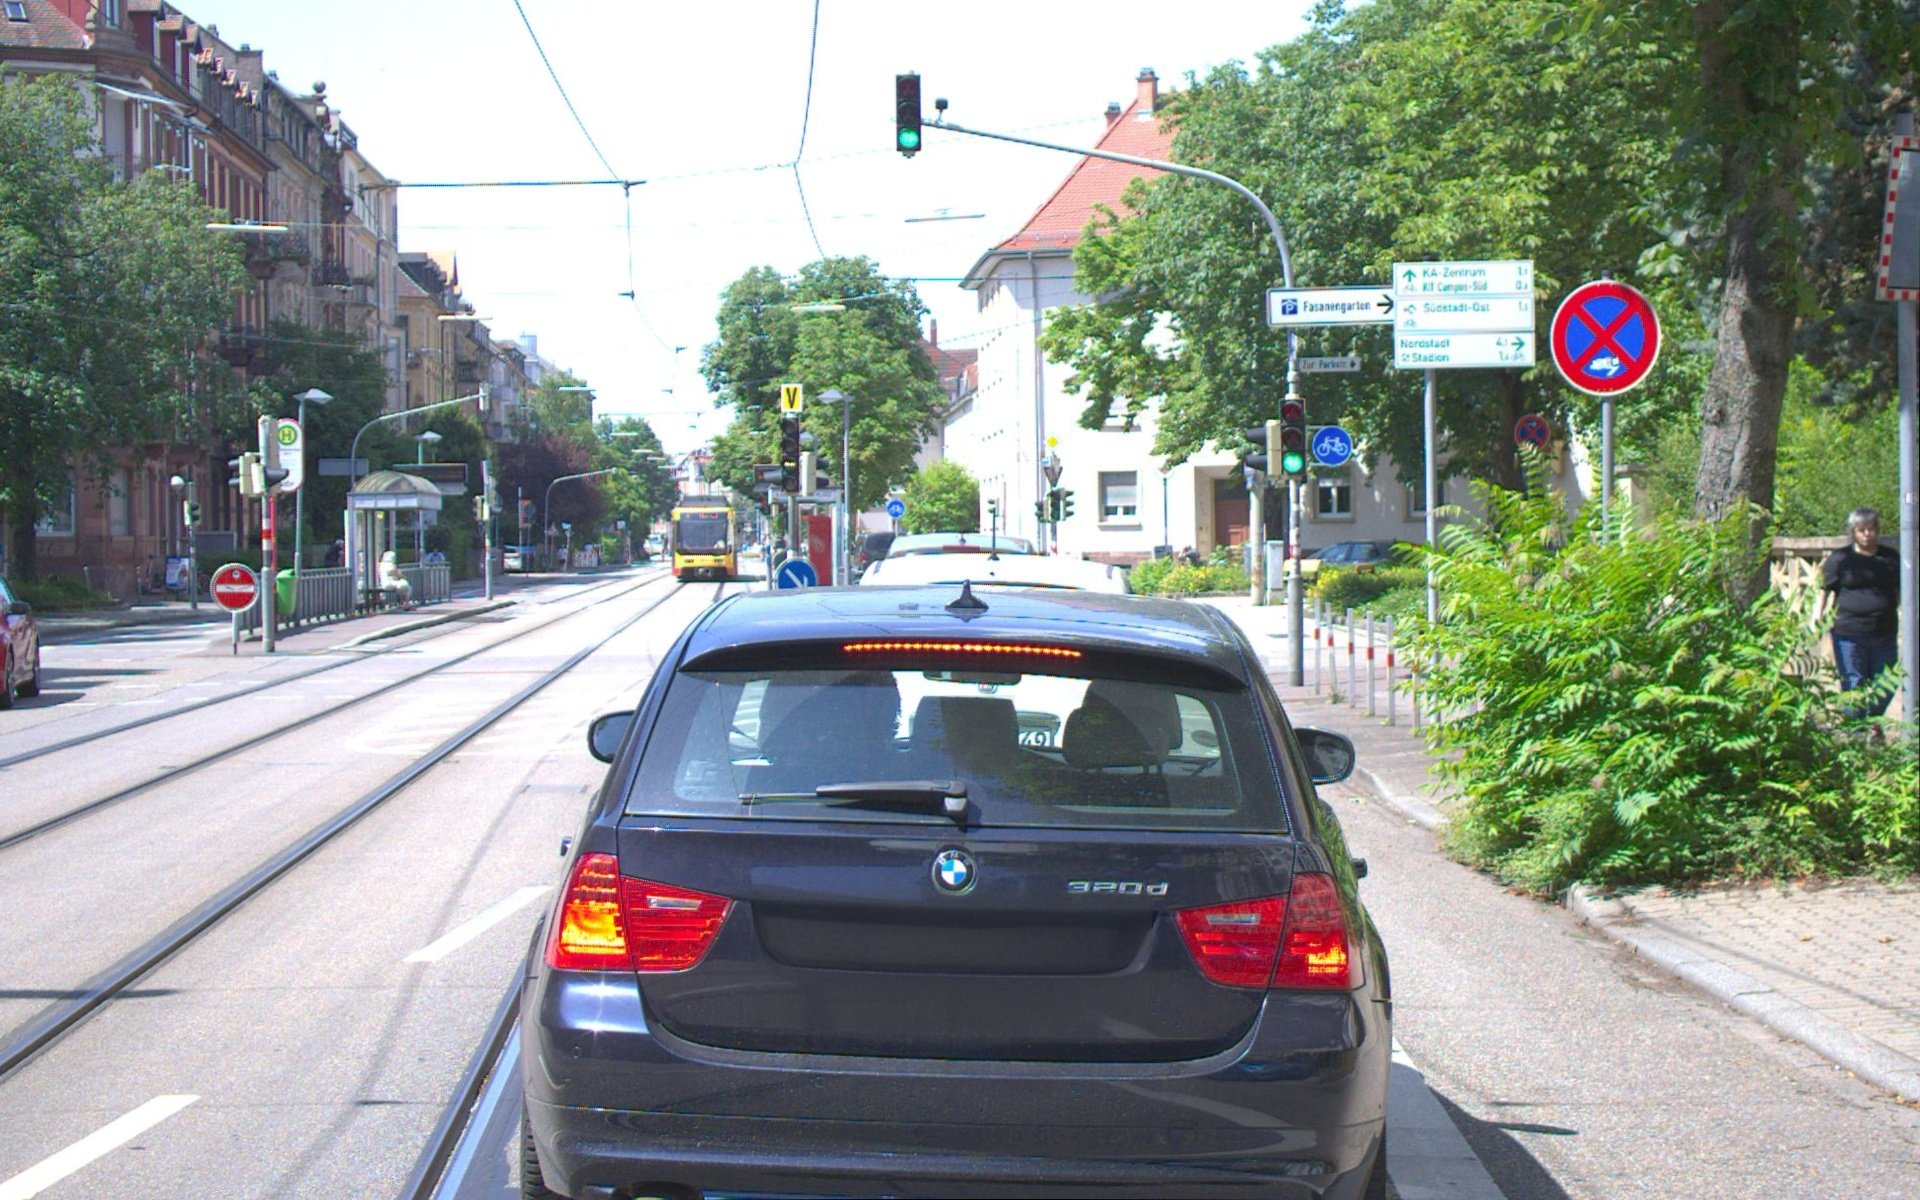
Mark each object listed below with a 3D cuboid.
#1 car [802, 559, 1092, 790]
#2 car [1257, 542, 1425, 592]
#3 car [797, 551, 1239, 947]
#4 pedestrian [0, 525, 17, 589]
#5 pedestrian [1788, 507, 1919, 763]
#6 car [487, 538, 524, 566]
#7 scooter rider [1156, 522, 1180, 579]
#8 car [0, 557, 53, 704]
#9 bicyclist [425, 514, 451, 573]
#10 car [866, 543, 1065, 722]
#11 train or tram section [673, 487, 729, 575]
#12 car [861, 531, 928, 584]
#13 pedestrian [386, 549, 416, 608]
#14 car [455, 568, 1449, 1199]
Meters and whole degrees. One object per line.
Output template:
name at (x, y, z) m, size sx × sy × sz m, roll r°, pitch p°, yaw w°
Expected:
car at (-0.161, 0.413, 22.018) m, size 1.691 × 1.318 × 3.822 m, roll 0°, pitch 1°, yaw -3°
car at (9.840, -0.849, 88.892) m, size 3.994 × 1.239 × 1.620 m, roll 0°, pitch 1°, yaw 32°
car at (0.179, 0.545, 15.047) m, size 1.685 × 1.479 × 3.685 m, roll -1°, pitch 1°, yaw -1°
pedestrian at (-27.046, -1.217, 96.800) m, size 0.738 × 1.805 × 0.641 m, roll -1°, pitch 1°, yaw -41°
pedestrian at (5.925, 0.218, 22.475) m, size 0.857 × 1.640 × 0.836 m, roll -1°, pitch 1°, yaw 5°
car at (-25.898, -2.738, 195.816) m, size 1.787 × 1.580 × 4.001 m, roll 1°, pitch 0°, yaw -12°
scooter rider at (6.112, -1.455, 101.032) m, size 0.590 × 1.681 × 0.528 m, roll -1°, pitch 1°, yaw -9°
car at (-10.509, 0.302, 35.505) m, size 1.822 × 1.408 × 4.430 m, roll -2°, pitch 1°, yaw -10°
bicyclist at (-16.602, -1.786, 109.348) m, size 0.722 × 1.864 × 0.825 m, roll -1°, pitch 1°, yaw -5°
car at (0.052, 0.249, 31.264) m, size 1.691 × 1.508 × 3.821 m, roll 0°, pitch 1°, yaw 0°
train or tram section at (-10.596, -2.822, 141.269) m, size 2.190 × 3.470 × 8.847 m, roll -1°, pitch 1°, yaw -4°
car at (-2.346, -1.516, 122.423) m, size 1.993 × 1.842 × 4.001 m, roll -1°, pitch 1°, yaw -7°
pedestrian at (-11.675, -0.451, 71.800) m, size 0.613 × 1.238 × 0.628 m, roll -1°, pitch 1°, yaw -9°
car at (0.044, 0.672, 8.341) m, size 1.722 × 1.404 × 4.565 m, roll 2°, pitch 1°, yaw 2°
